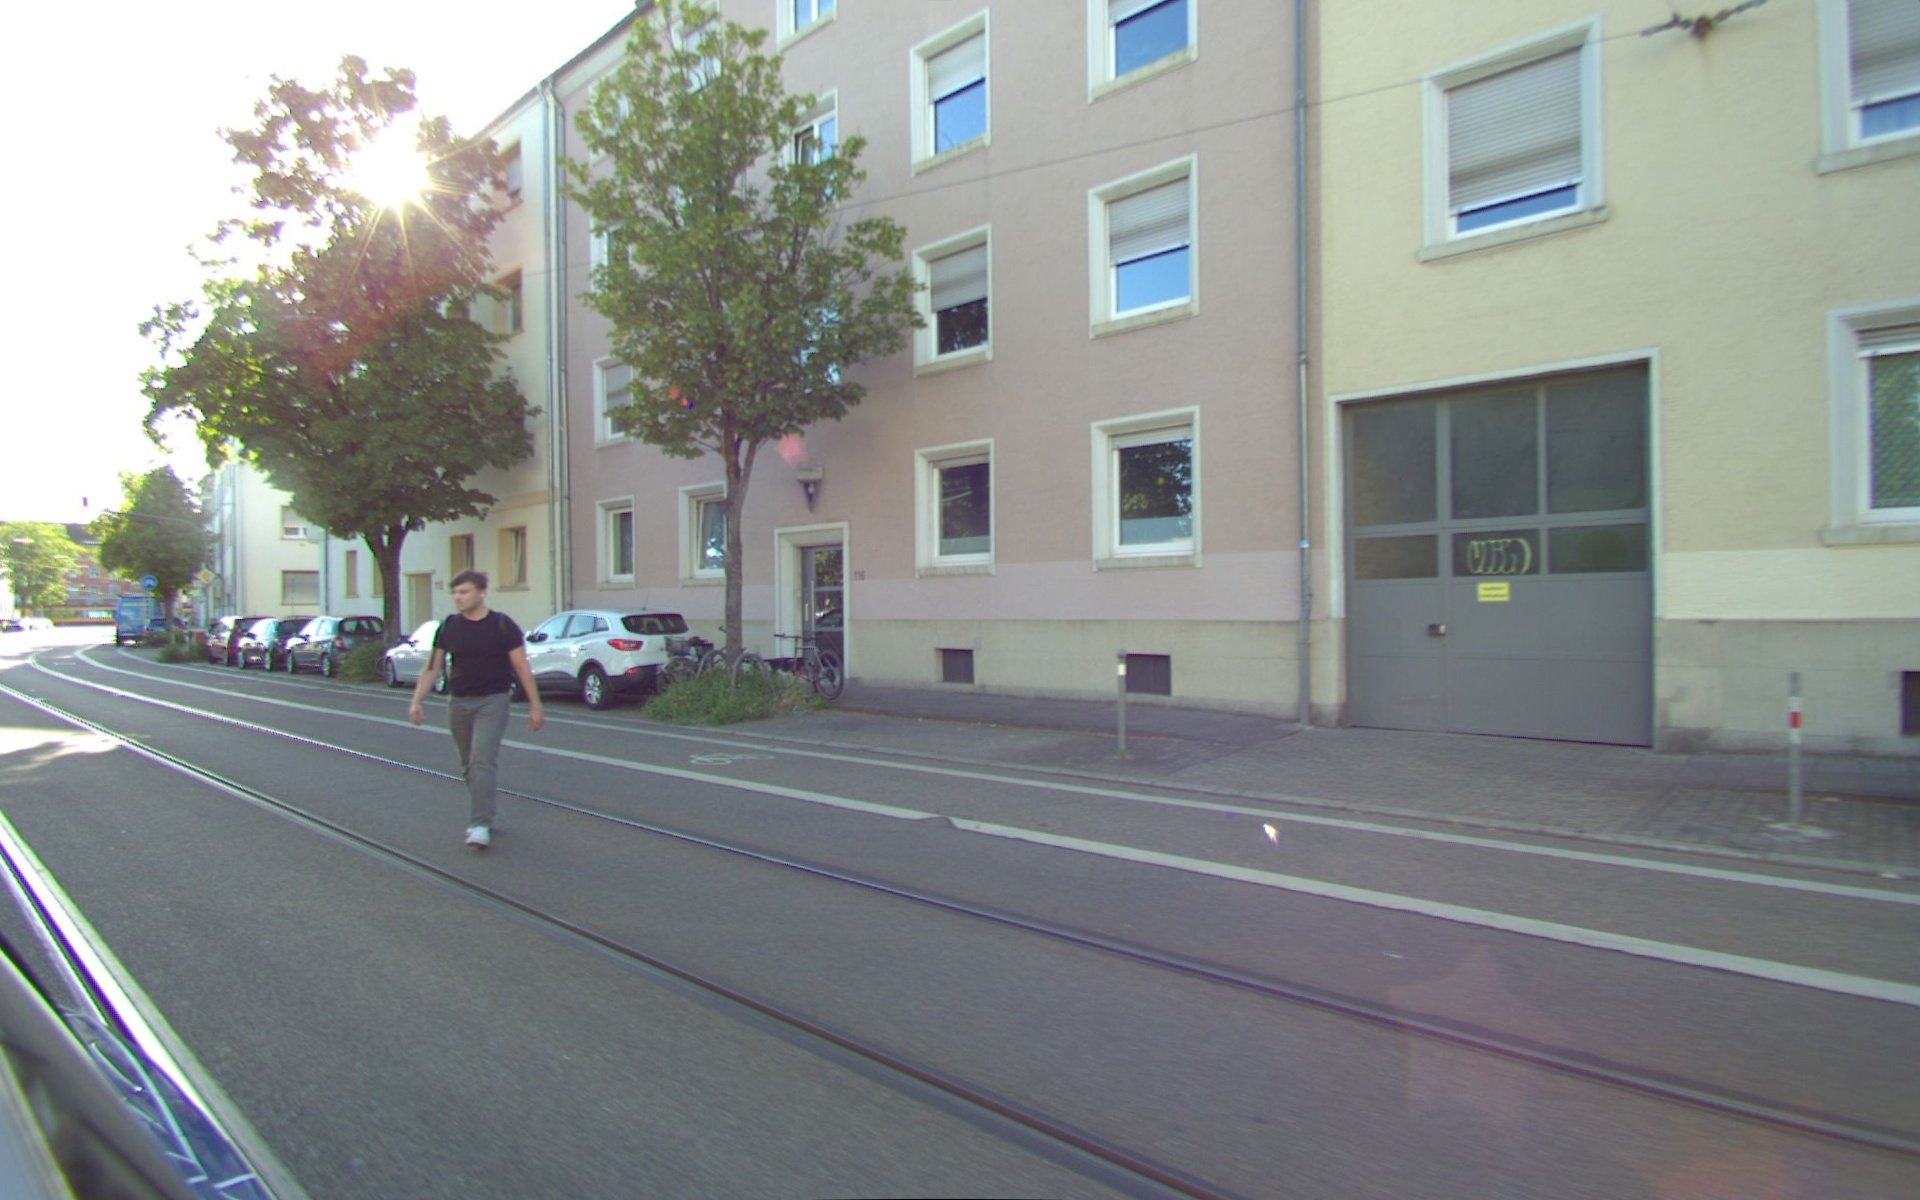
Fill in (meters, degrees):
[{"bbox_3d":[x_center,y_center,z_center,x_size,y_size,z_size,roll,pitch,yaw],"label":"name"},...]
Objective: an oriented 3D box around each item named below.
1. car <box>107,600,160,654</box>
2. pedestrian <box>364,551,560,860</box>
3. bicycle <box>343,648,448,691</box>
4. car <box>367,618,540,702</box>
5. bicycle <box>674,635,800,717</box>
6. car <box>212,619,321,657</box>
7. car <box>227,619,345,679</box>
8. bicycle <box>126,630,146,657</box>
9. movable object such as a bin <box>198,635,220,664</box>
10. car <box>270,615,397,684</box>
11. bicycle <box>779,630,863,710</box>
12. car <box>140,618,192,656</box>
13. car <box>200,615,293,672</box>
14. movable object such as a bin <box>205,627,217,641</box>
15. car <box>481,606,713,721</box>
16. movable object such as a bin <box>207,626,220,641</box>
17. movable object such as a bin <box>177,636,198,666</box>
[{"bbox_3d":[-46.126,1.466,56.574,1.991,2.847,6.045,-2,0,-37],"label":"car"},{"bbox_3d":[-3.128,0.629,6.411,0.730,1.790,0.846,-2,-2,22],"label":"pedestrian"},{"bbox_3d":[-13.159,1.594,23.651,0.477,0.831,2.105,-1,0,41],"label":"bicycle"},{"bbox_3d":[-10.534,1.162,20.880,4.660,1.486,1.670,-1,0,43],"label":"car"},{"bbox_3d":[-3.336,1.112,15.275,0.476,1.054,1.904,-1,0,43],"label":"bicycle"},{"bbox_3d":[-31.176,1.687,45.568,3.839,1.469,1.770,-2,1,-42],"label":"car"},{"bbox_3d":[-19.425,1.364,29.110,3.854,1.541,1.769,-1,1,40],"label":"car"},{"bbox_3d":[-37.677,1.973,46.274,0.506,1.143,2.032,-2,0,-45],"label":"bicycle"},{"bbox_3d":[-26.355,1.739,35.512,0.660,0.995,0.479,-1,0,44],"label":"movable object such as a bin"},{"bbox_3d":[-16.361,1.254,26.380,3.726,1.626,1.576,-1,0,38],"label":"car"},{"bbox_3d":[-2.050,0.998,14.815,1.439,1.109,0.325,-1,0,42],"label":"bicycle"},{"bbox_3d":[-40.106,1.826,51.142,1.770,1.571,4.651,-12,7,-38],"label":"car"},{"bbox_3d":[-22.500,1.322,31.866,1.669,1.541,4.003,-6,3,-44],"label":"car"},{"bbox_3d":[-48.578,2.199,65.609,0.588,0.941,0.570,0,-1,-41],"label":"movable object such as a bin"},{"bbox_3d":[-6.225,0.991,17.130,4.290,1.680,1.636,-1,0,38],"label":"car"},{"bbox_3d":[-47.392,2.102,64.246,0.588,0.941,0.570,0,-1,-41],"label":"movable object such as a bin"},{"bbox_3d":[-26.796,1.770,35.097,0.660,0.995,0.479,-1,0,44],"label":"movable object such as a bin"}]
